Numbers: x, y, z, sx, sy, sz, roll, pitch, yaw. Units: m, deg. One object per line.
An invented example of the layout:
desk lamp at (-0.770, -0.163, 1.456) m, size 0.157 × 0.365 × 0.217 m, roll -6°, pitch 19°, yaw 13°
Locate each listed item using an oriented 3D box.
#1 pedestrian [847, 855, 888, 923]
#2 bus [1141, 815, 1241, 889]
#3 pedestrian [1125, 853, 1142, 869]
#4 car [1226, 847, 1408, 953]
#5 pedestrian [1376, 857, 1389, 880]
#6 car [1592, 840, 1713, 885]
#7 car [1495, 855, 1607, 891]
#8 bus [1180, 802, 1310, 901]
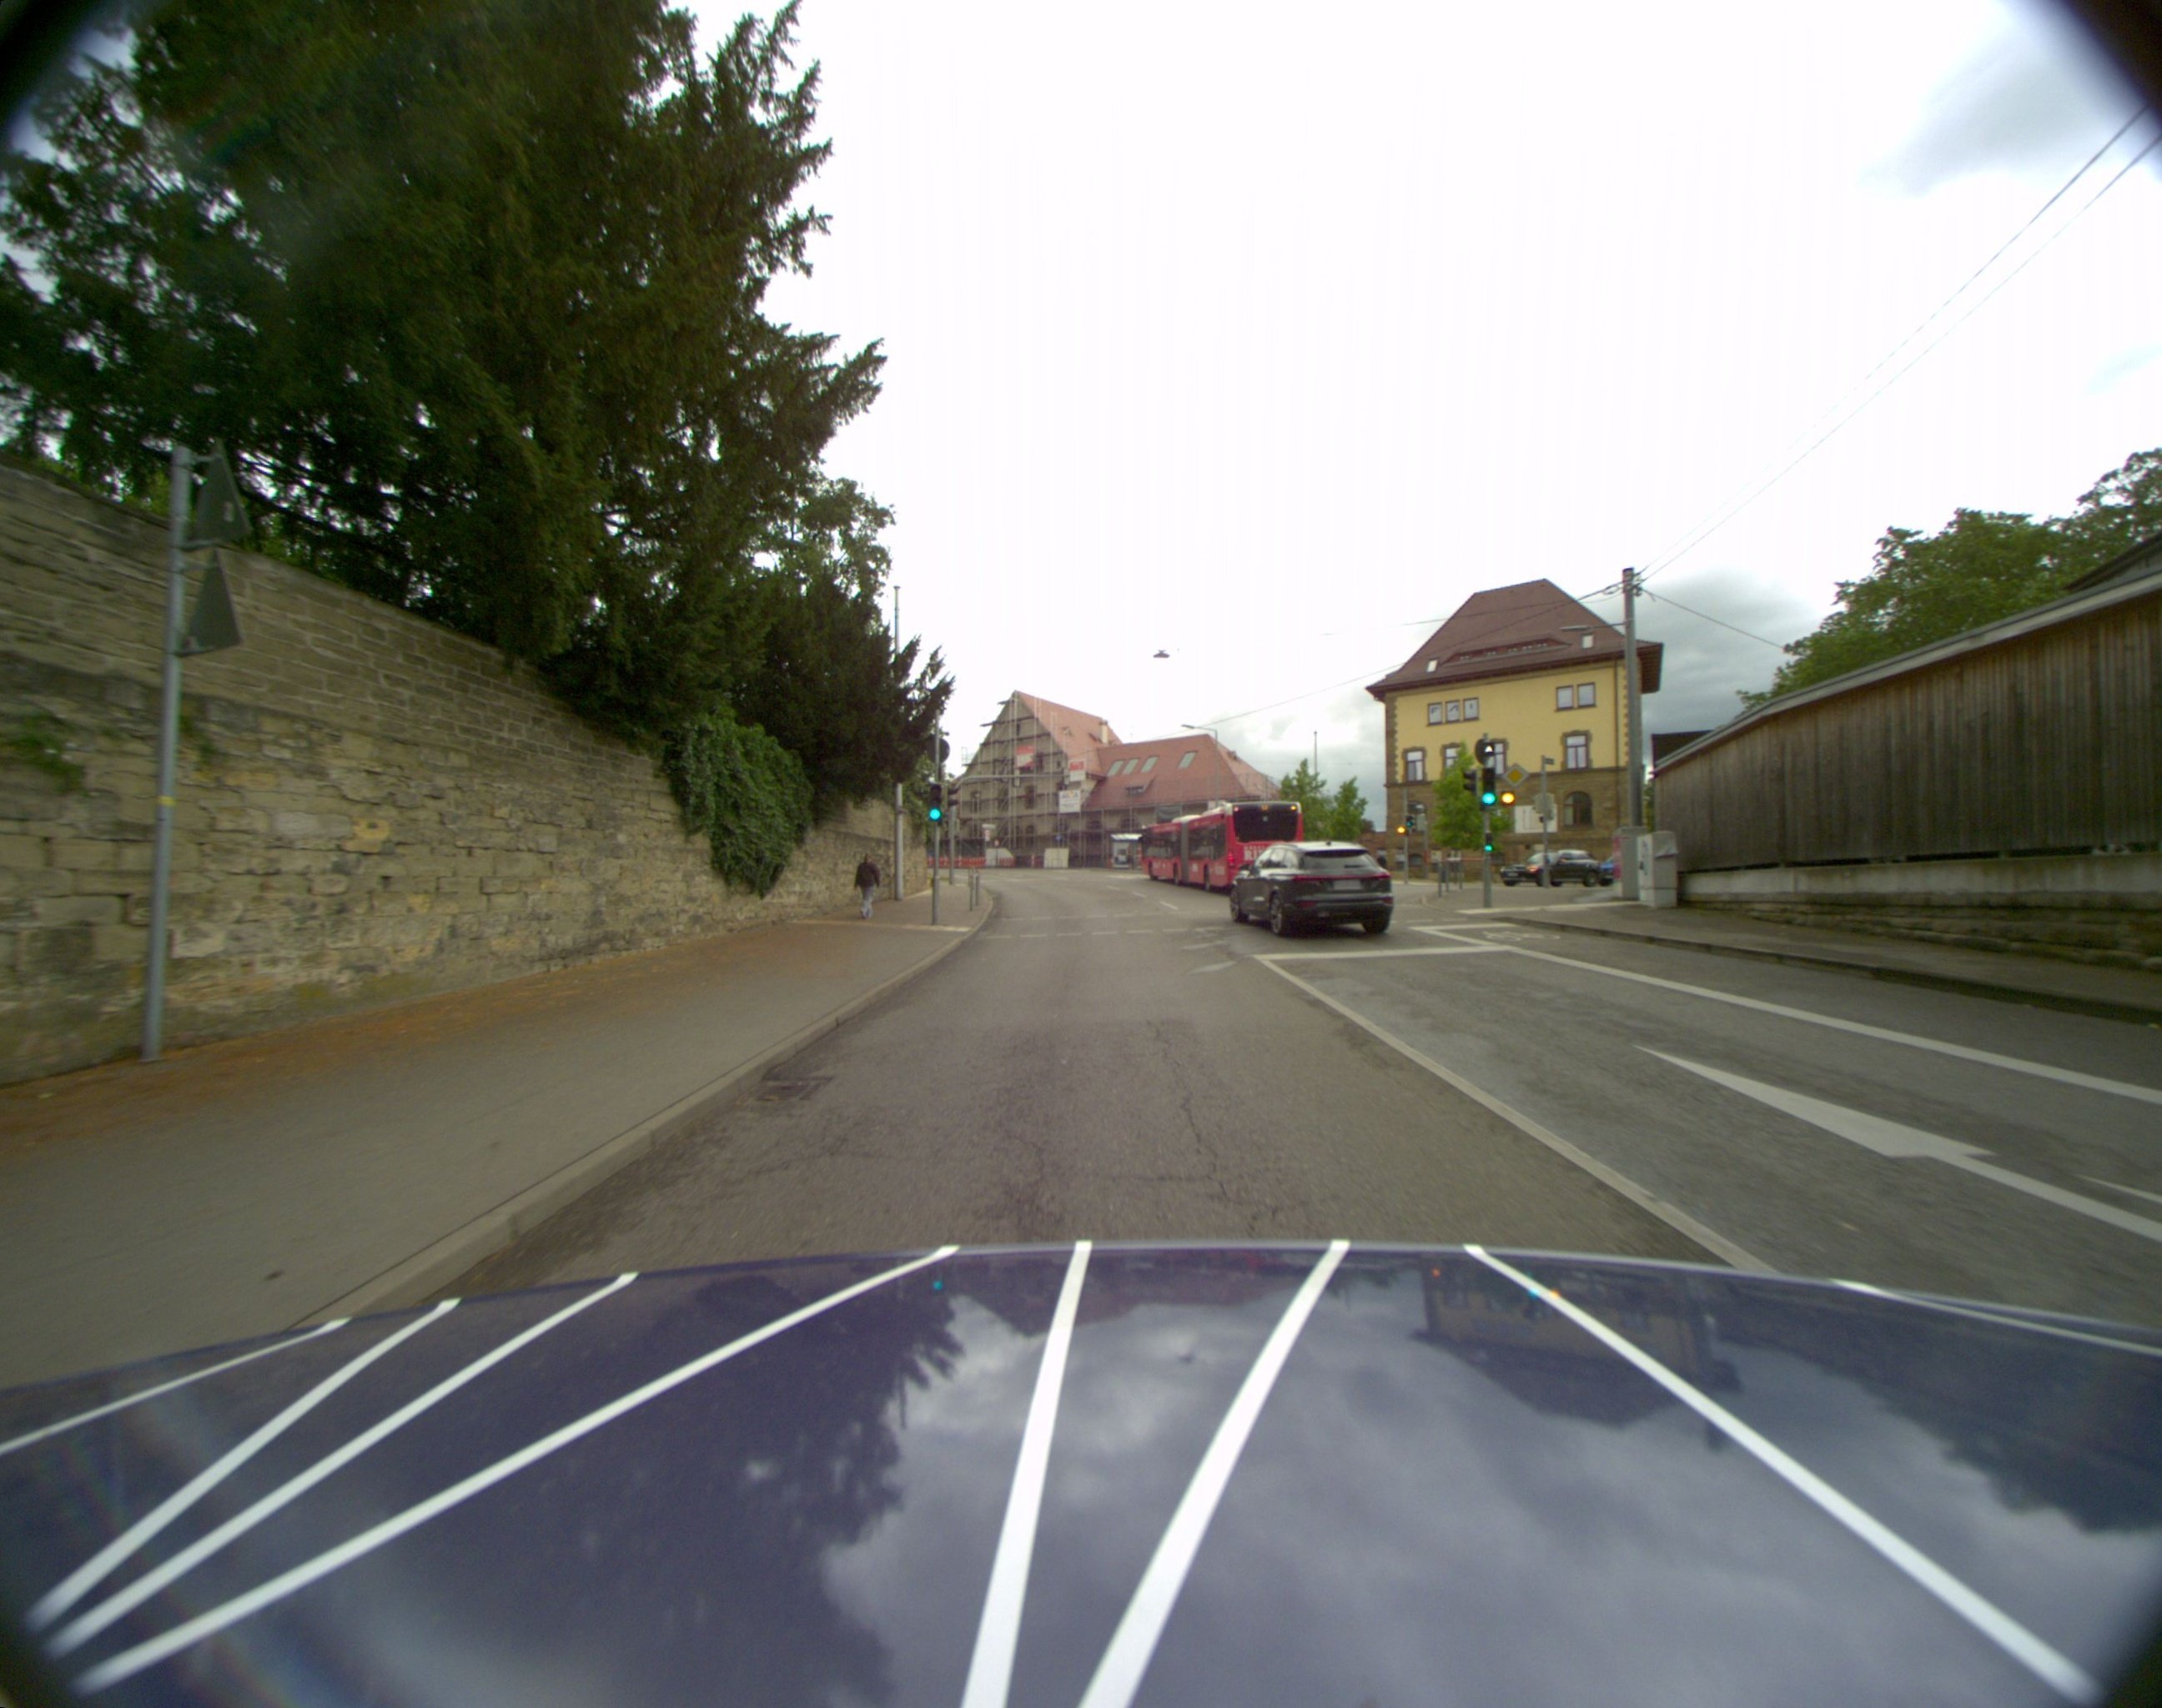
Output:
pedestrian at (-5.028, 0.810, 17.923) m, size 0.733 × 1.567 × 0.743 m, roll 2°, pitch 0°, yaw -2°
bus at (5.149, -0.098, 37.843) m, size 2.665 × 3.103 × 10.014 m, roll -2°, pitch 0°, yaw -5°
pedestrian at (4.015, 0.551, 58.116) m, size 0.937 × 1.185 × 0.903 m, roll 3°, pitch 0°, yaw -25°
car at (4.281, 0.735, 14.653) m, size 1.927 × 1.621 × 4.521 m, roll -3°, pitch 1°, yaw -2°
pedestrian at (20.316, 0.965, 51.207) m, size 0.541 × 1.568 × 0.651 m, roll 0°, pitch 1°, yaw -38°
car at (27.260, 0.403, 36.218) m, size 5.594 × 2.002 × 1.996 m, roll 1°, pitch 1°, yaw -22°
car at (20.734, 0.842, 33.558) m, size 4.278 × 1.504 × 1.996 m, roll 1°, pitch 0°, yaw -21°
bus at (5.852, -0.093, 28.660) m, size 2.665 × 3.103 × 8.290 m, roll -2°, pitch 0°, yaw -3°
